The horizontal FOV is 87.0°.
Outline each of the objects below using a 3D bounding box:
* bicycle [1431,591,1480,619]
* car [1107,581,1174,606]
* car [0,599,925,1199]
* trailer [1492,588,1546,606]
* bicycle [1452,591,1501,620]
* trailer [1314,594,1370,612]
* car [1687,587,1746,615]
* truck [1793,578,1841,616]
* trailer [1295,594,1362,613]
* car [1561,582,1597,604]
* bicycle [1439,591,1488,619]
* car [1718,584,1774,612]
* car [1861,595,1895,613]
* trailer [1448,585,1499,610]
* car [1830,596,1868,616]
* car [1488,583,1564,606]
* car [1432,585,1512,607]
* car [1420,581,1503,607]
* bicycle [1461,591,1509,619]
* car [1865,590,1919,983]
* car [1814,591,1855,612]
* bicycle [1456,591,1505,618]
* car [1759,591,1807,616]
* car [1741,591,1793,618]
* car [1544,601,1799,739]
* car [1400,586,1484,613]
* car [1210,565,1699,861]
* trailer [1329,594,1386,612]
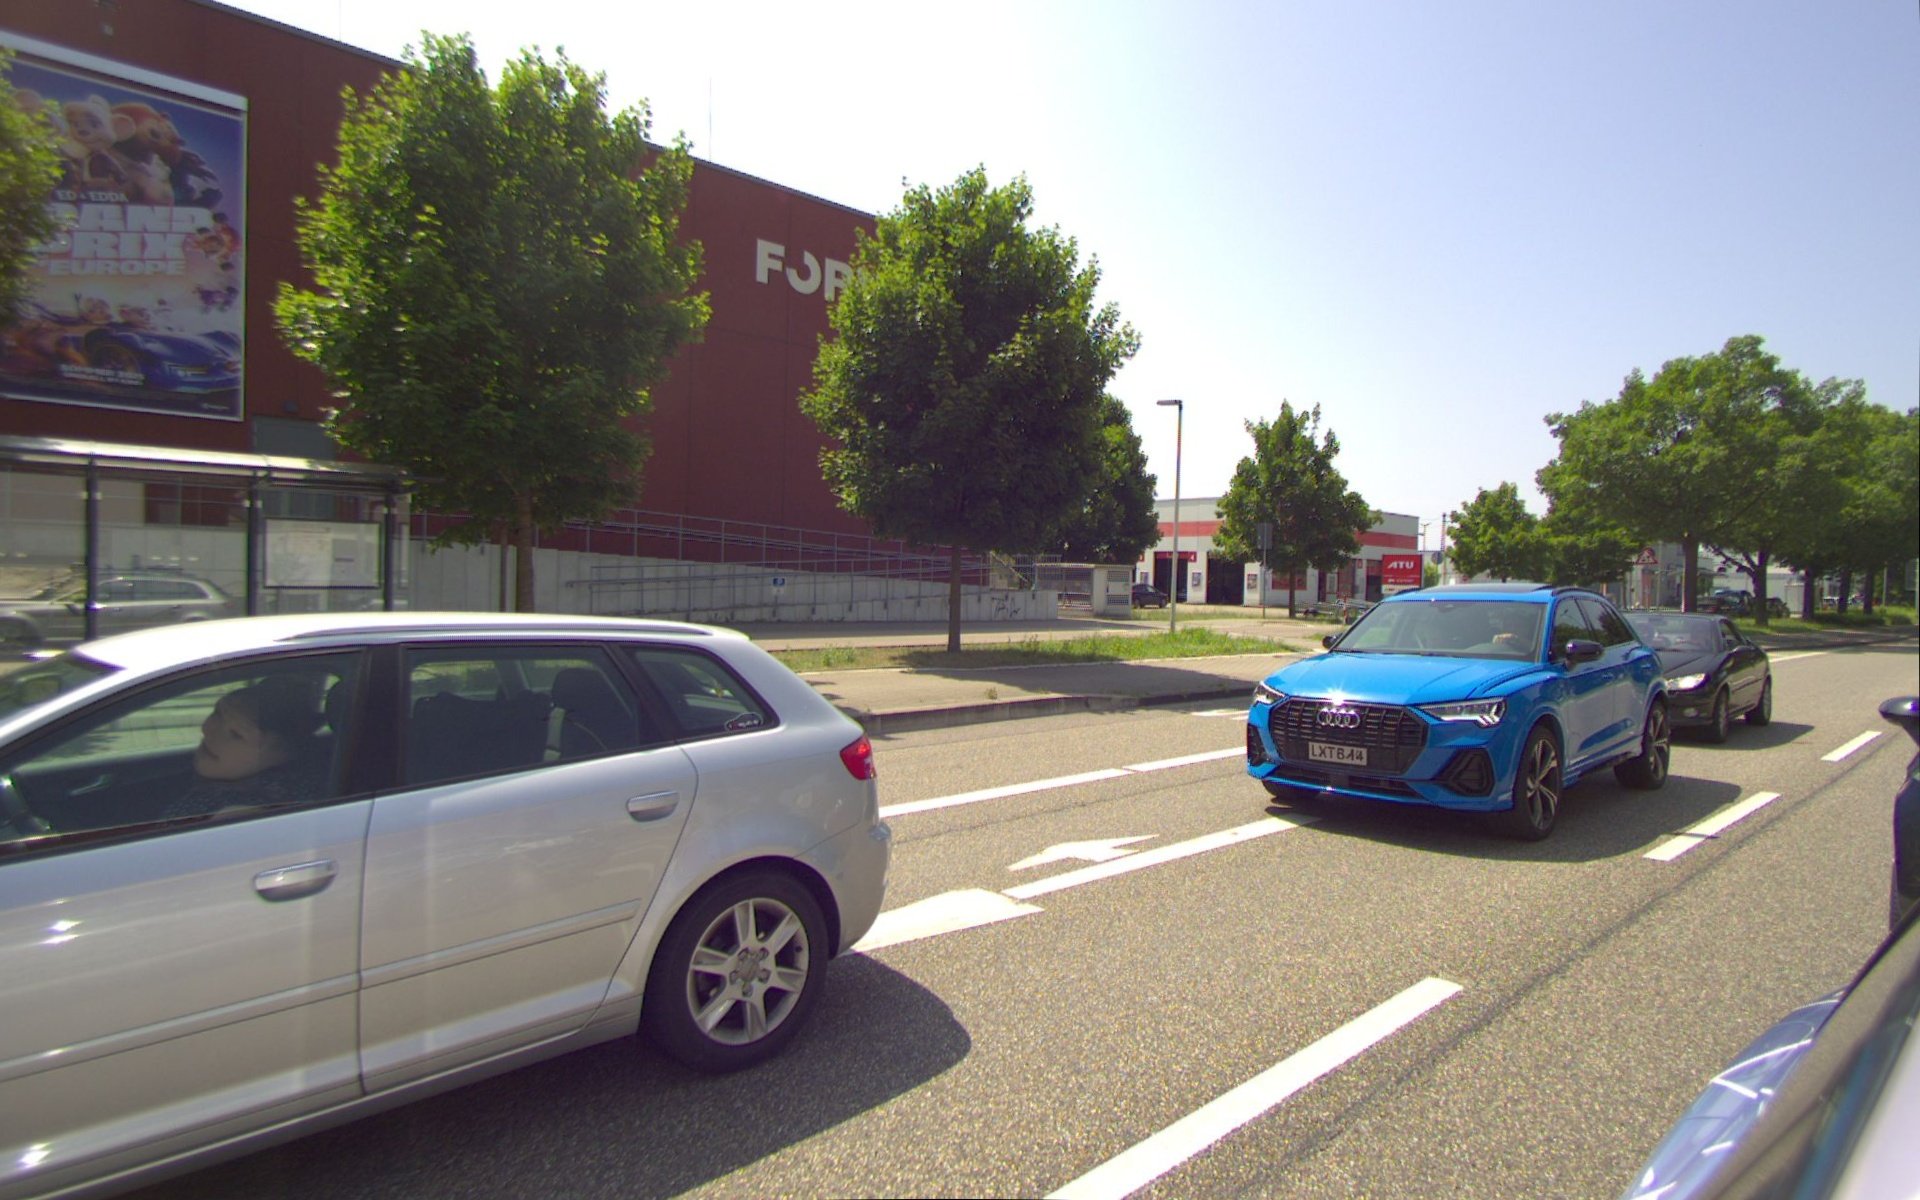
[{"bbox_3d":[20.922,0.208,42.775,1.779,1.138,0.506,3,1,43],"label":"bicycle"},{"bbox_3d":[10.722,-0.405,59.932,4.074,1.390,1.716,0,2,-42],"label":"car"},{"bbox_3d":[-2.173,0.692,2.874,4.022,1.379,1.714,0,0,-43],"label":"car"},{"bbox_3d":[35.167,-0.194,63.698,1.552,1.065,2.638,0,2,-43],"label":"trailer"},{"bbox_3d":[22.158,0.228,43.404,1.779,1.138,0.506,3,1,43],"label":"bicycle"},{"bbox_3d":[17.909,0.120,47.450,1.244,0.771,2.137,0,2,-39],"label":"trailer"},{"bbox_3d":[39.106,0.043,52.287,3.930,1.388,1.641,0,2,-41],"label":"car"},{"bbox_3d":[60.553,-0.232,71.515,3.929,2.599,1.904,0,1,-40],"label":"truck"},{"bbox_3d":[16.716,0.145,45.921,1.423,0.771,2.467,0,2,-39],"label":"trailer"},{"bbox_3d":[48.582,-0.552,79.408,1.753,1.616,3.940,2,2,42],"label":"car"},{"bbox_3d":[21.436,0.194,43.121,1.779,1.138,0.506,3,1,43],"label":"bicycle"},{"bbox_3d":[43.727,-0.107,56.302,3.930,1.485,1.719,0,2,-41],"label":"car"},{"bbox_3d":[80.228,0.368,88.450,3.930,1.485,1.719,0,2,-41],"label":"car"},{"bbox_3d":[33.295,-0.192,65.610,1.391,1.546,2.638,0,2,-43],"label":"trailer"},{"bbox_3d":[69.928,0.453,79.582,3.930,1.485,1.719,0,2,-41],"label":"car"},{"bbox_3d":[36.641,-0.355,65.594,1.662,1.317,3.991,0,2,-44],"label":"car"},{"bbox_3d":[30.923,-0.248,61.168,1.718,1.223,3.991,0,2,-44],"label":"car"},{"bbox_3d":[29.403,-0.354,59.368,1.718,1.419,3.991,0,2,-44],"label":"car"},{"bbox_3d":[23.033,0.205,44.435,1.779,1.138,0.506,3,1,43],"label":"bicycle"},{"bbox_3d":[5.386,0.705,4.477,3.931,1.421,1.640,0,2,-42],"label":"car"},{"bbox_3d":[64.965,0.133,75.167,3.930,1.485,1.719,0,2,-41],"label":"car"},{"bbox_3d":[22.566,0.187,43.895,1.779,1.138,0.506,3,1,43],"label":"bicycle"},{"bbox_3d":[51.939,0.218,63.846,3.930,1.532,1.719,0,2,-41],"label":"car"},{"bbox_3d":[47.564,0.254,59.626,3.930,1.539,1.719,0,2,-41],"label":"car"},{"bbox_3d":[8.482,0.696,11.937,3.931,1.361,1.640,0,-1,-42],"label":"car"},{"bbox_3d":[27.612,-0.053,58.084,1.718,1.419,3.992,0,2,-43],"label":"car"},{"bbox_3d":[3.926,0.595,7.668,4.324,1.616,1.840,0,1,-42],"label":"car"},{"bbox_3d":[19.010,0.124,48.445,1.369,0.771,2.137,0,2,-39],"label":"trailer"}]
